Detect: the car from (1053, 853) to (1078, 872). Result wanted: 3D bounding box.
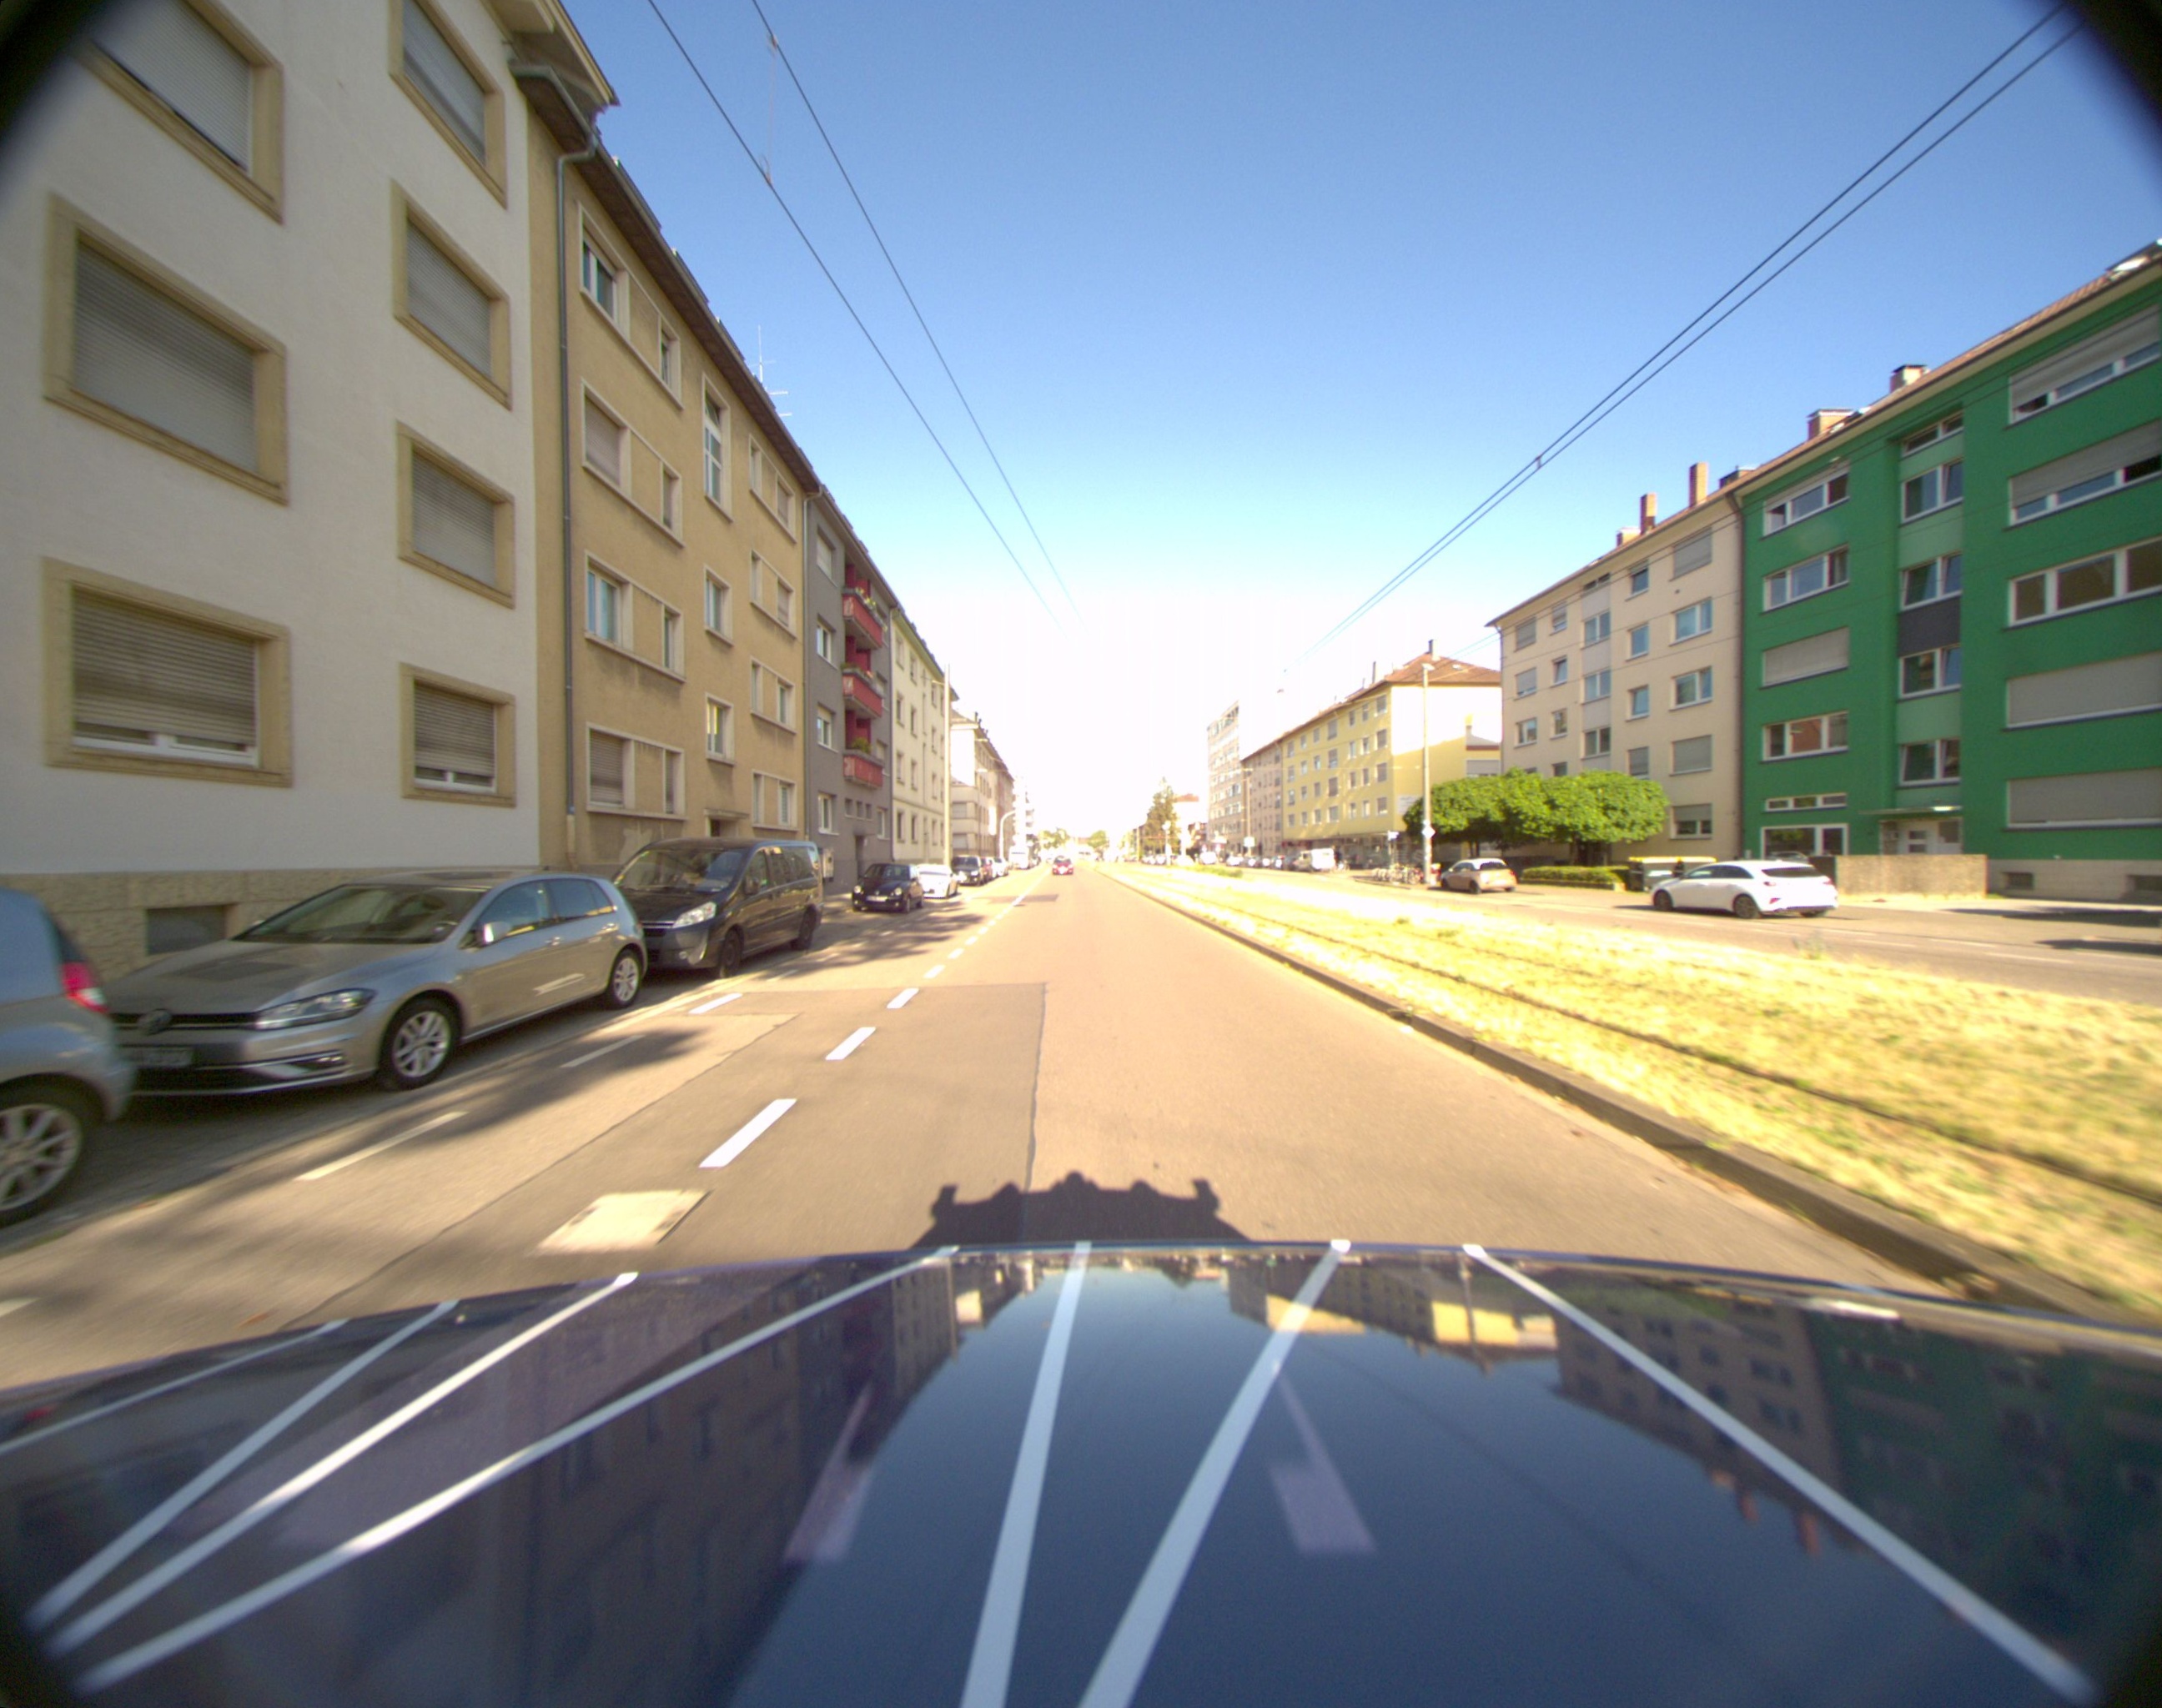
[{"bbox_3d":[-1.210,0.649,60.148,1.863,1.461,3.808,0,0,-1],"label":"car"}]

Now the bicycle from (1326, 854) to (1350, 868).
[{"bbox_3d":[21.444,0.564,63.377,1.824,1.099,0.390,-3,1,-1],"label":"bicycle"}]

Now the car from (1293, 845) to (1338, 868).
[{"bbox_3d":[21.221,0.193,69.083,1.999,1.938,5.498,-3,1,-4],"label":"car"}]

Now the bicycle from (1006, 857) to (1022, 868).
[{"bbox_3d":[-6.970,0.874,78.670,1.912,1.081,0.474,2,5,42],"label":"bicycle"}]

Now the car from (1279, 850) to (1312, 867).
[{"bbox_3d":[20.989,0.402,74.609,1.787,1.465,4.595,-3,1,-1],"label":"car"}]

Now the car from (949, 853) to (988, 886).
[{"bbox_3d":[-6.049,0.797,41.229,1.640,1.638,4.372,2,0,-3],"label":"car"}]

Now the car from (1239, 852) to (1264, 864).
[{"bbox_3d":[20.479,0.447,91.502,1.788,1.377,4.413,-3,1,-3],"label":"car"}]

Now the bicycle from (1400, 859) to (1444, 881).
[{"bbox_3d":[18.022,0.843,40.172,2.050,1.086,0.616,-3,1,26],"label":"bicycle"}]

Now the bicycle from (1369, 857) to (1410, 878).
[{"bbox_3d":[17.718,0.788,43.666,2.052,1.086,0.616,-3,1,5],"label":"bicycle"}]

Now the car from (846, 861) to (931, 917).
[{"bbox_3d":[-5.741,1.003,23.106,1.640,1.445,3.788,2,0,-1],"label":"car"}]

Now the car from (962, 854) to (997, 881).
[{"bbox_3d":[-6.196,0.797,46.929,1.640,1.508,4.188,0,0,-1],"label":"car"}]

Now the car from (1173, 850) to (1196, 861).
[{"bbox_3d":[13.172,0.211,96.940,1.839,1.377,4.412,1,0,-7],"label":"car"}]

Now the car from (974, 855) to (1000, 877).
[{"bbox_3d":[-6.445,0.807,52.364,1.640,1.450,4.079,0,0,-5],"label":"car"}]

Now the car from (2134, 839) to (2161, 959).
[{"bbox_3d":[17.628,0.669,9.670,1.999,1.827,4.608,-3,1,-1],"label":"car"}]

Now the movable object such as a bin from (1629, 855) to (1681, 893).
[{"bbox_3d":[21.551,0.736,28.547,1.149,1.360,1.039,-3,1,2],"label":"movable object such as a bin"}]

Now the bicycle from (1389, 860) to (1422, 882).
[{"bbox_3d":[16.713,0.854,39.145,0.511,1.086,1.934,-3,1,-13],"label":"bicycle"}]

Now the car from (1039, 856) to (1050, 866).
[{"bbox_3d":[-5.932,1.079,123.089,1.763,1.543,2.649,1,0,-3],"label":"car"}]

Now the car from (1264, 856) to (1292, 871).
[{"bbox_3d":[20.857,0.995,80.585,1.787,1.377,3.767,-3,1,-1],"label":"car"}]

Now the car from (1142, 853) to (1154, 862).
[{"bbox_3d":[11.516,0.604,130.934,1.618,1.550,3.999,2,0,-2],"label":"car"}]

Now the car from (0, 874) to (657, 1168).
[{"bbox_3d":[-5.374,0.991,6.343,1.515,1.469,4.236,1,1,-4],"label":"car"}]

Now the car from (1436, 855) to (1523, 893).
[{"bbox_3d":[17.247,0.827,33.114,1.640,1.434,3.733,-3,1,-3],"label":"car"}]

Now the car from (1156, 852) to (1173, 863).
[{"bbox_3d":[12.117,0.488,110.639,1.788,1.572,4.607,1,0,-1],"label":"car"}]

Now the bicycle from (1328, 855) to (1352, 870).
[{"bbox_3d":[21.453,0.708,62.932,1.824,1.099,0.390,-3,1,-1],"label":"bicycle"}]

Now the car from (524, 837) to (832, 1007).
[{"bbox_3d":[-5.506,0.772,11.374,1.918,1.888,5.134,3,1,-1],"label":"car"}]

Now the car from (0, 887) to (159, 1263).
[{"bbox_3d":[-5.332,0.965,1.835,1.598,1.569,3.894,2,1,-4],"label":"car"}]

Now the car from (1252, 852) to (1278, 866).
[{"bbox_3d":[20.780,0.582,85.914,1.787,1.412,4.414,-3,1,-1],"label":"car"}]

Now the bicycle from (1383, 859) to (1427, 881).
[{"bbox_3d":[17.695,0.849,41.537,2.052,1.086,0.616,-3,1,5],"label":"bicycle"}]

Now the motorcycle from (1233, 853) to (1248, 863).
[{"bbox_3d":[20.183,0.513,95.949,2.115,1.132,0.486,-3,1,-34],"label":"motorcycle"}]

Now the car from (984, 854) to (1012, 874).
[{"bbox_3d":[-6.223,0.736,57.533,1.698,1.450,4.378,0,0,-1],"label":"car"}]

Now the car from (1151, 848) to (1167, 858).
[{"bbox_3d":[12.062,-0.140,117.933,1.862,1.541,4.239,2,0,-3],"label":"car"}]

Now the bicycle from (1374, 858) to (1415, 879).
[{"bbox_3d":[17.721,0.820,42.968,2.052,1.086,0.616,-3,1,5],"label":"bicycle"}]

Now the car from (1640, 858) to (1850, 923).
[{"bbox_3d":[17.388,0.879,20.247,1.733,1.446,4.375,-1,0,-1],"label":"car"}]

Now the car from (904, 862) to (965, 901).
[{"bbox_3d":[-5.818,1.059,30.719,1.706,1.268,4.302,3,0,-2],"label":"car"}]

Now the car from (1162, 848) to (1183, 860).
[{"bbox_3d":[12.416,-0.028,103.504,1.788,1.519,4.412,1,0,-6],"label":"car"}]

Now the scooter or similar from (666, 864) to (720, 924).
[{"bbox_3d":[-8.607,0.866,16.896,0.460,1.231,1.338,3,1,-1],"label":"scooter or similar"}]

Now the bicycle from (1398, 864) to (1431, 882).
[{"bbox_3d":[17.234,0.988,39.332,0.377,0.861,2.052,-3,1,-13],"label":"bicycle"}]

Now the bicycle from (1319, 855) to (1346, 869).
[{"bbox_3d":[21.460,0.695,64.813,2.103,1.099,0.472,-3,1,-1],"label":"bicycle"}]

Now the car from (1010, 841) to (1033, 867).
[{"bbox_3d":[-6.513,0.003,84.213,2.156,2.680,6.290,2,0,-1],"label":"car"}]

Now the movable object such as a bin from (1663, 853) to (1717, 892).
[{"bbox_3d":[22.849,0.671,28.528,1.149,1.360,1.039,-3,1,2],"label":"movable object such as a bin"}]

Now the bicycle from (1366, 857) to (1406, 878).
[{"bbox_3d":[17.786,0.787,44.316,2.052,1.086,0.616,-3,1,5],"label":"bicycle"}]

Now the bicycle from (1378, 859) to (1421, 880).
[{"bbox_3d":[17.693,0.862,42.215,2.052,1.086,0.616,-3,1,5],"label":"bicycle"}]

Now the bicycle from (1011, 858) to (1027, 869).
[{"bbox_3d":[-6.449,0.974,79.360,0.487,1.081,2.023,-4,1,-43],"label":"bicycle"}]

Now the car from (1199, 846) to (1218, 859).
[{"bbox_3d":[20.445,-0.239,121.937,1.999,1.887,4.668,-3,1,-3],"label":"car"}]

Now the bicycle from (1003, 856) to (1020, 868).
[{"bbox_3d":[-7.083,0.827,77.583,1.912,1.080,0.475,2,0,42],"label":"bicycle"}]

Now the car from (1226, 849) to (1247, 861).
[{"bbox_3d":[20.459,0.083,100.024,1.763,1.477,4.199,-3,1,-1],"label":"car"}]
